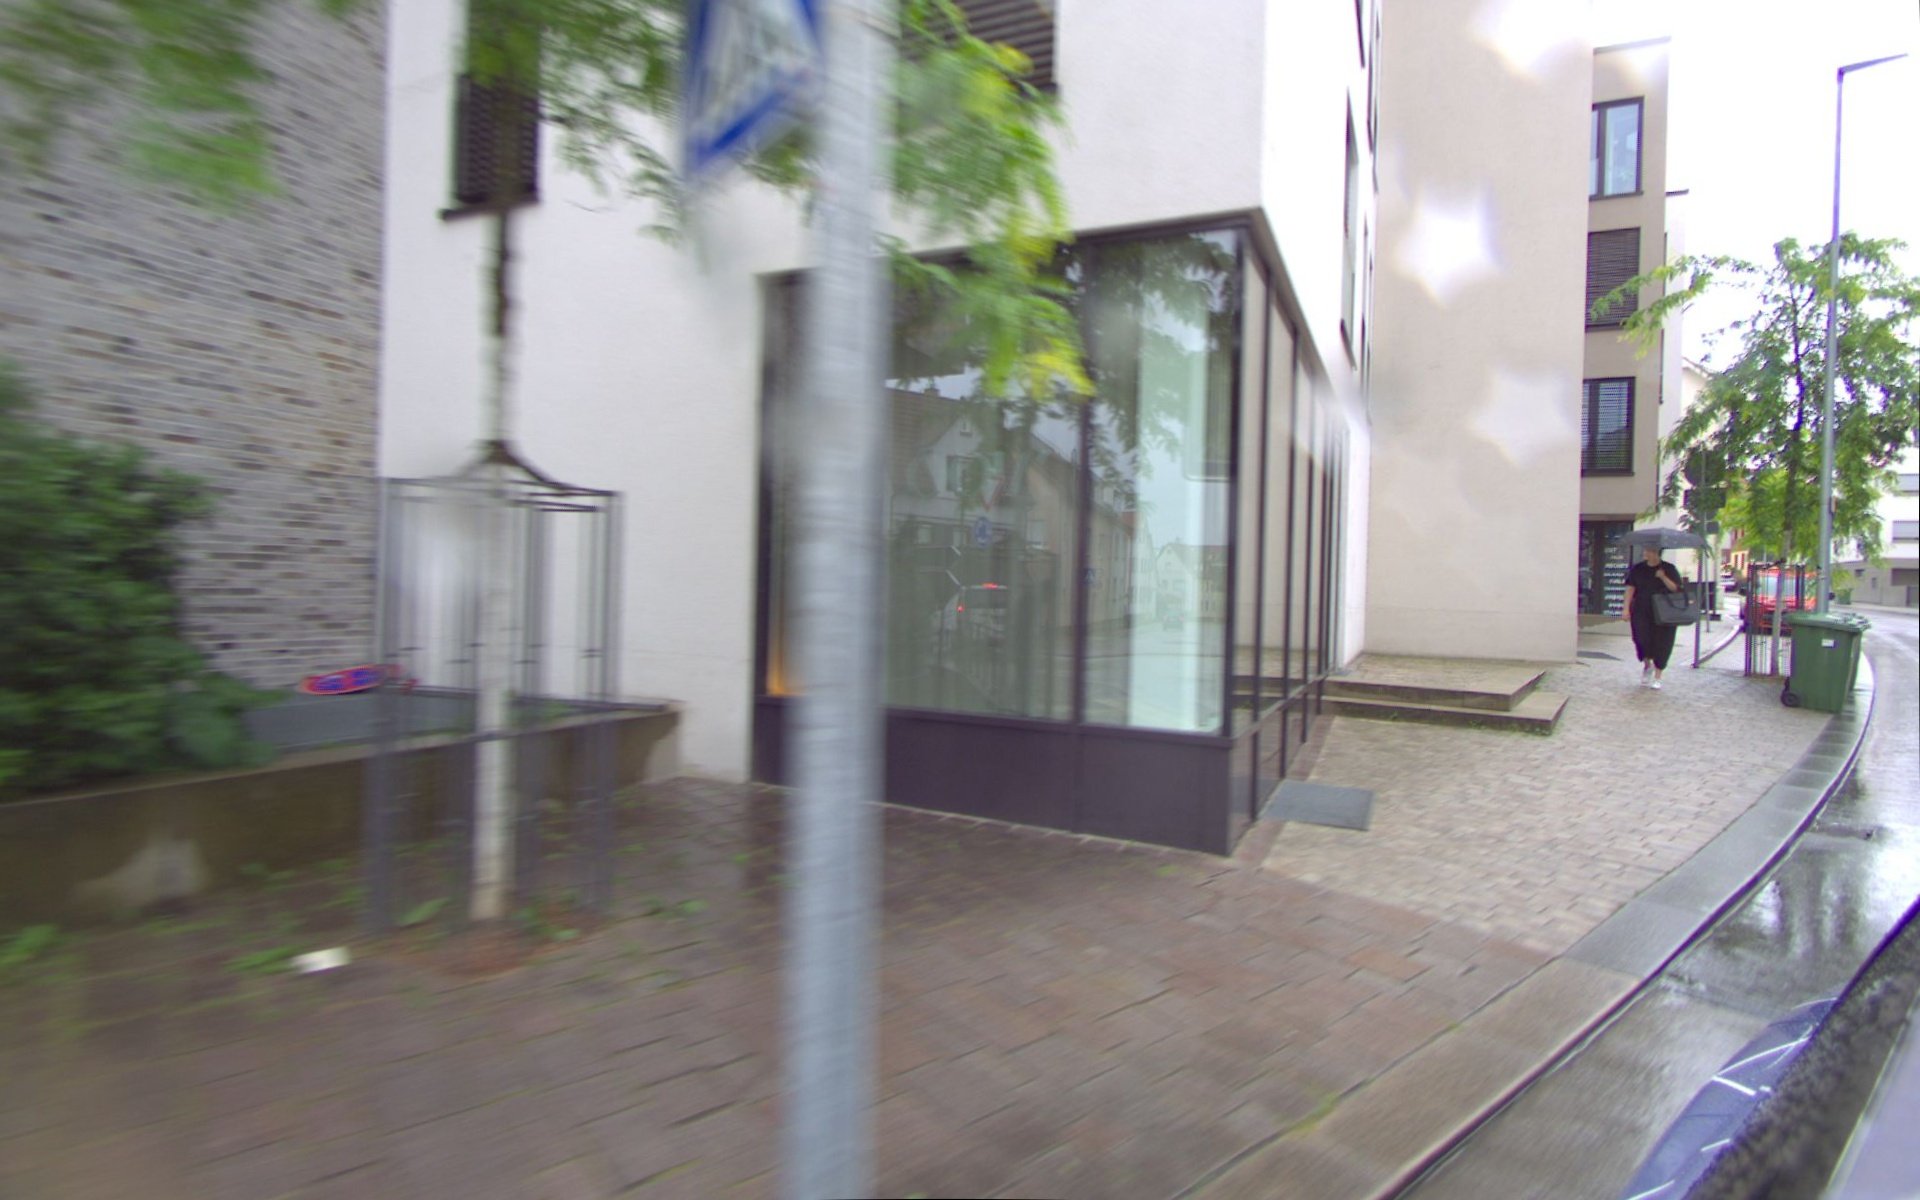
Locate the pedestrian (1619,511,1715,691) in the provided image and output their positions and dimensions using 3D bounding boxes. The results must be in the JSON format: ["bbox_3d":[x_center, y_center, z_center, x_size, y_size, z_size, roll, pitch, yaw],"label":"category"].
[{"bbox_3d":[8.497,-0.007,12.157,0.866,2.038,1.067,1,2,39],"label":"pedestrian"}]

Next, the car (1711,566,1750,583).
[{"bbox_3d":[69.944,-2.289,91.912,1.979,1.463,3.967,1,2,25],"label":"car"}]

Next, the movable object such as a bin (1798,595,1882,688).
[{"bbox_3d":[11.954,0.542,13.754,0.620,1.185,0.753,-1,3,-42],"label":"movable object such as a bin"}]

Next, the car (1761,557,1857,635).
[{"bbox_3d":[23.667,-0.191,28.261,1.834,1.929,4.538,4,4,40],"label":"car"}]

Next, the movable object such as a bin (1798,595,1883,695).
[{"bbox_3d":[10.541,0.522,12.124,0.724,1.132,0.567,1,1,45],"label":"movable object such as a bin"}]

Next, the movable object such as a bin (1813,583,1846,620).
[{"bbox_3d":[27.102,0.033,31.549,0.708,1.101,0.593,3,2,39],"label":"movable object such as a bin"}]

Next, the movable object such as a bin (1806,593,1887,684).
[{"bbox_3d":[12.441,0.522,14.209,0.620,1.185,0.753,-1,3,-42],"label":"movable object such as a bin"}]

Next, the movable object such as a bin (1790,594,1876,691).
[{"bbox_3d":[11.478,0.531,13.309,0.620,1.185,0.753,-1,3,-42],"label":"movable object such as a bin"}]

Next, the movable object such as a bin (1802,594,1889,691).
[{"bbox_3d":[10.974,0.504,12.544,0.762,1.132,0.614,1,1,45],"label":"movable object such as a bin"}]

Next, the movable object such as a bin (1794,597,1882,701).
[{"bbox_3d":[10.145,0.540,11.703,0.724,1.132,0.567,1,1,45],"label":"movable object such as a bin"}]
